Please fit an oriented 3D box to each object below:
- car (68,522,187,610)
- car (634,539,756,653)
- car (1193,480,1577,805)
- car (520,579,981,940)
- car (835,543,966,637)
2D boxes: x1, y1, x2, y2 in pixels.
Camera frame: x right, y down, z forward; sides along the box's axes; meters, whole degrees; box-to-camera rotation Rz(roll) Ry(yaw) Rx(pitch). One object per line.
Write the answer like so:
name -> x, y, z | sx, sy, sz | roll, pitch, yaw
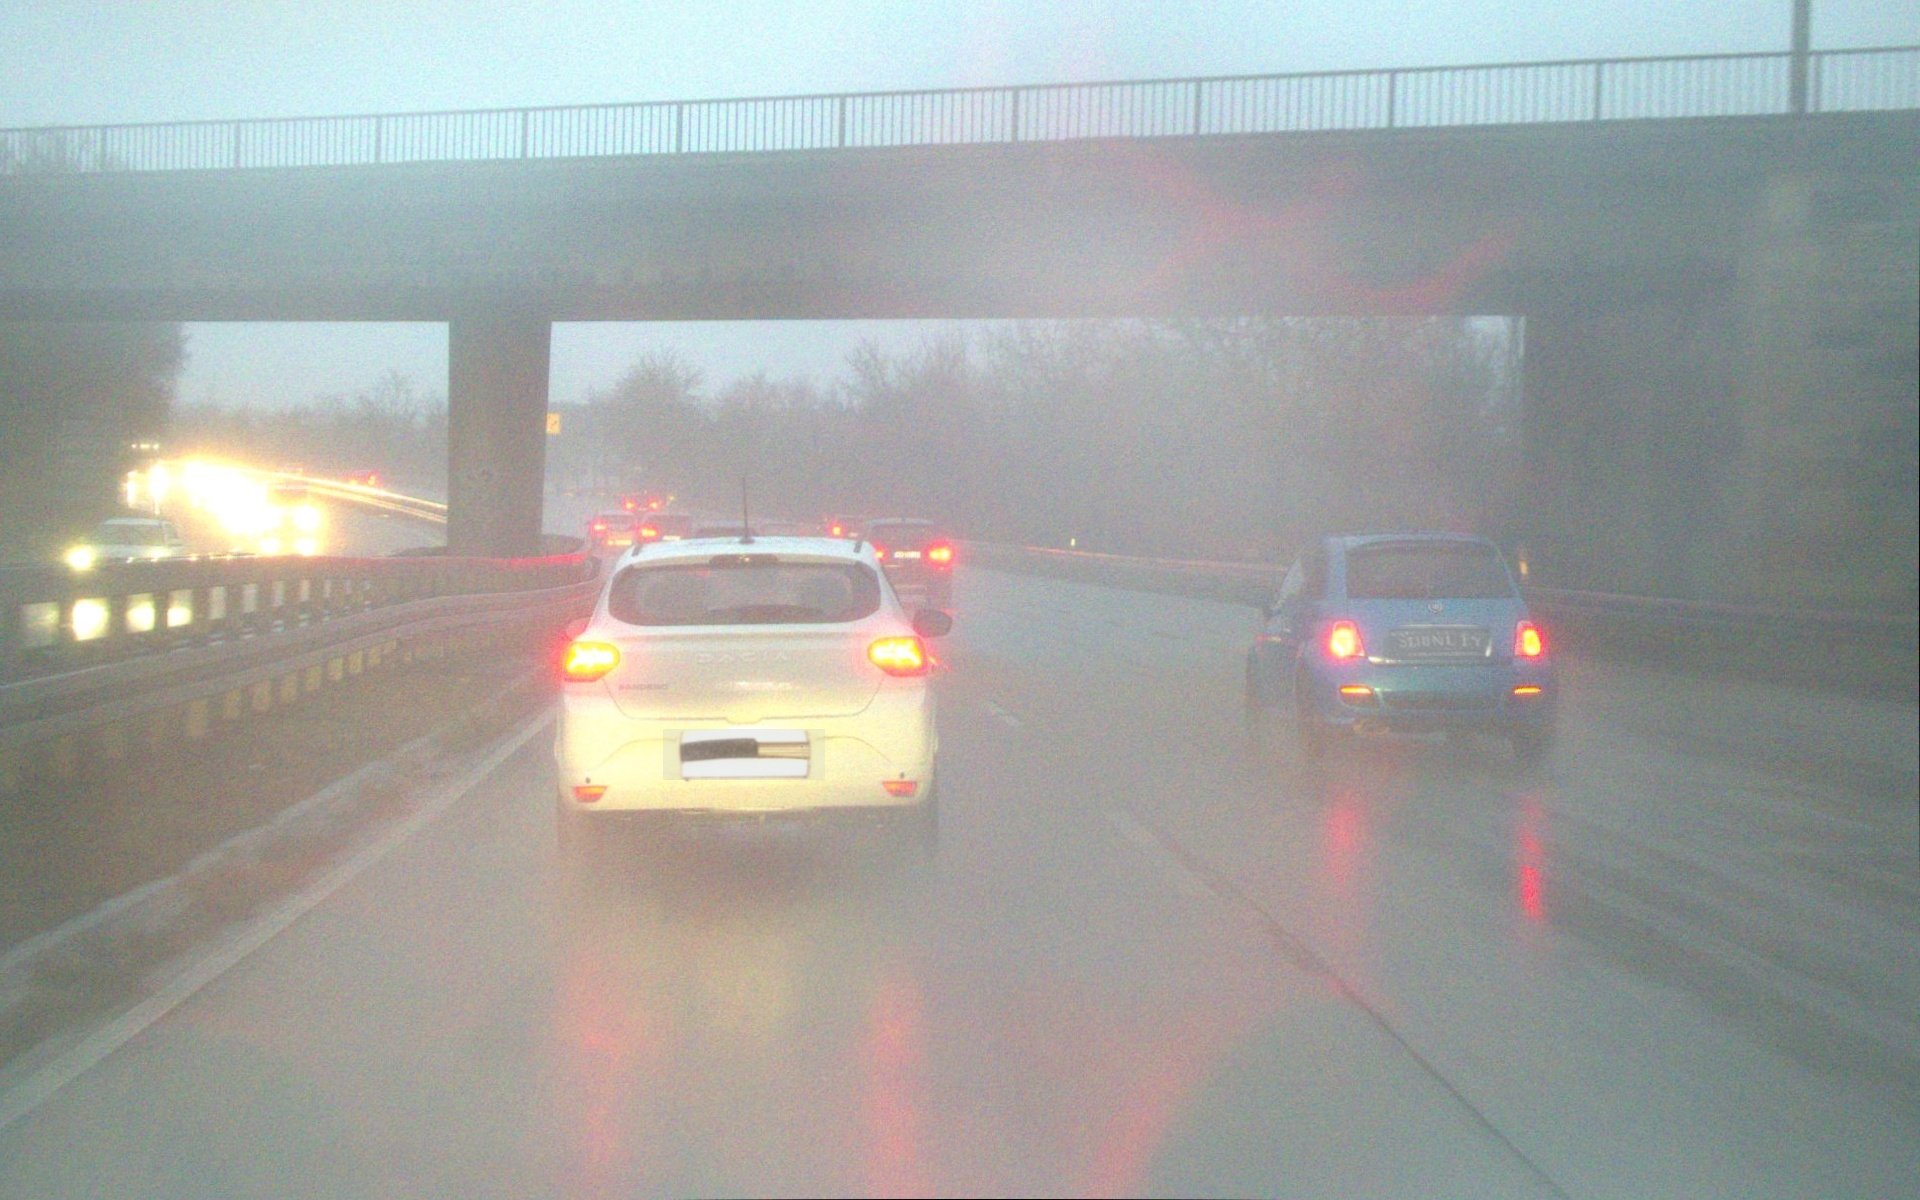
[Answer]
car -> -16.327, -0.689, 67.605 | 1.582, 1.664, 4.296 | 0, 1, -4
car -> -4.922, -0.078, 63.535 | 1.993, 2.007, 4.001 | 1, 0, -7
car -> 2.819, 0.269, 23.649 | 1.932, 2.012, 3.774 | 1, 0, -3
car -> -0.986, 0.714, 17.366 | 2.024, 1.569, 4.000 | 1, 0, -1
car -> -1.185, -0.171, 66.482 | 1.932, 1.541, 3.774 | -4, -1, -9
